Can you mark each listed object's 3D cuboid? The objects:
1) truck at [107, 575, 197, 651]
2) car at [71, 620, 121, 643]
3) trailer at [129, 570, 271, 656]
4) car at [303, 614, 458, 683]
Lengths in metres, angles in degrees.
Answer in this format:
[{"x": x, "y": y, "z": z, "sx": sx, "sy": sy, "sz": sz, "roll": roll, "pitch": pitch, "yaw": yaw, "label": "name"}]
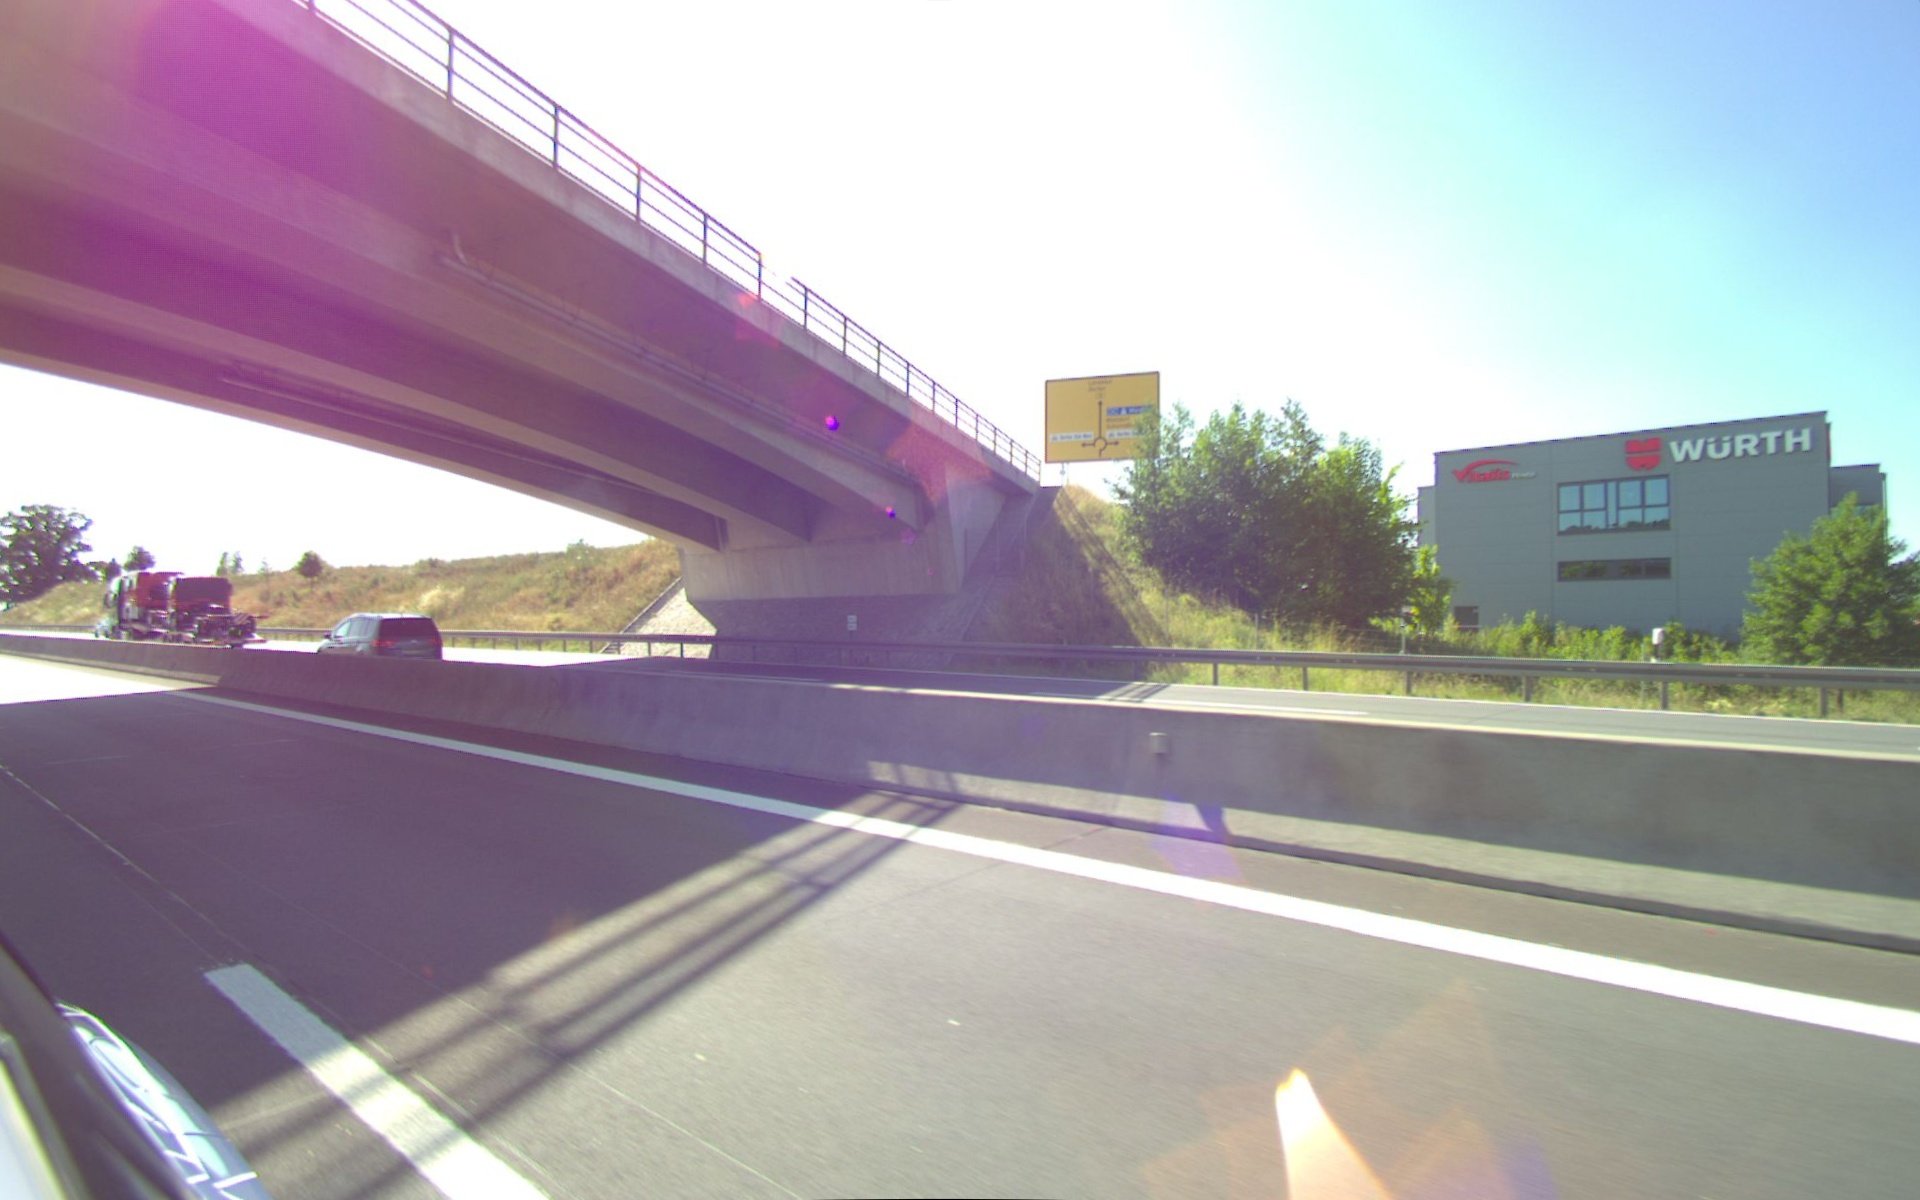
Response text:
[{"x": -43.370, "y": 0.726, "z": 54.272, "sx": 5.826, "sy": 3.861, "sz": 2.707, "roll": -1, "pitch": -1, "yaw": 40, "label": "truck"}, {"x": -61.288, "y": 2.235, "z": 71.765, "sx": 4.562, "sy": 1.542, "sz": 1.844, "roll": -1, "pitch": -1, "yaw": 38, "label": "car"}, {"x": -36.829, "y": 0.683, "z": 48.732, "sx": 13.227, "sy": 3.685, "sz": 2.638, "roll": -1, "pitch": -1, "yaw": 41, "label": "trailer"}, {"x": -14.821, "y": 1.166, "z": 25.756, "sx": 4.926, "sy": 1.586, "sz": 2.047, "roll": -1, "pitch": -1, "yaw": 43, "label": "car"}]
